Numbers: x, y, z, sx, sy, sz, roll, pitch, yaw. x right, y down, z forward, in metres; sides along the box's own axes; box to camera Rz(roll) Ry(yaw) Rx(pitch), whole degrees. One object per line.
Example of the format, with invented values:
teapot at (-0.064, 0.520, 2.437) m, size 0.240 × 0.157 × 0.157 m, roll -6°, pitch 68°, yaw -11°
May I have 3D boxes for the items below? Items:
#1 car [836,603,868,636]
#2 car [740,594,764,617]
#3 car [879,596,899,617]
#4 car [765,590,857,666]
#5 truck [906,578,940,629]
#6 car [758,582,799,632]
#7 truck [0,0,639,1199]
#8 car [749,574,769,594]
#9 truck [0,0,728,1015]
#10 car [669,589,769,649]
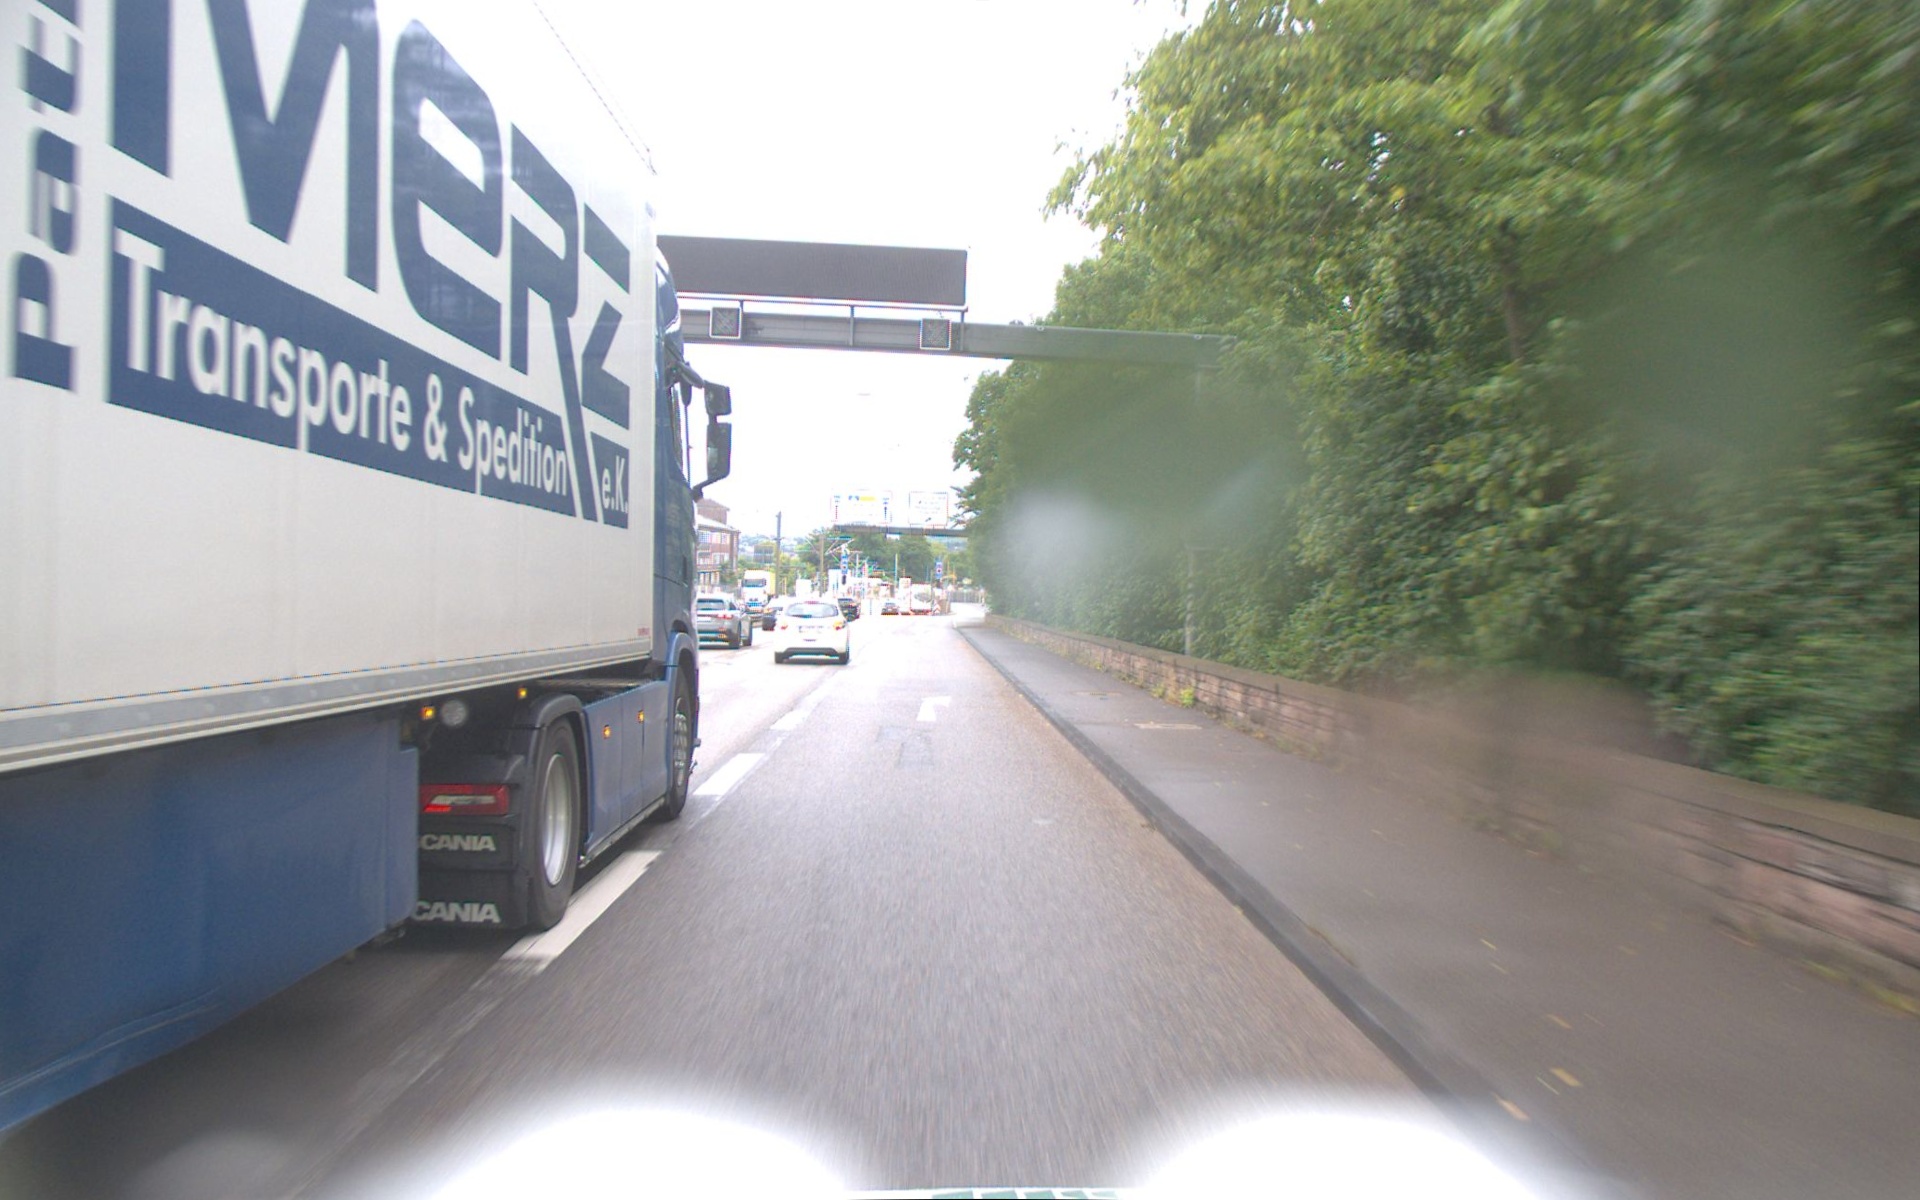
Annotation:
car at (-7.329, 1.344, 112.831) m, size 1.953 × 2.049 × 3.998 m, roll 2°, pitch -3°, yaw -1°
car at (-20.854, 0.585, 165.763) m, size 1.953 × 2.049 × 3.998 m, roll 2°, pitch -3°, yaw -1°
car at (-7.609, 0.731, 178.121) m, size 1.953 × 2.049 × 3.998 m, roll 2°, pitch -3°, yaw -1°
car at (-3.408, 0.605, 38.577) m, size 1.916 × 1.513 × 3.999 m, roll 2°, pitch 2°, yaw -3°
truck at (-4.423, 0.509, 198.984) m, size 3.393 × 5.496 × 12.050 m, roll 2°, pitch -3°, yaw 1°
car at (-7.860, 0.278, 71.733) m, size 1.688 × 1.923 × 3.533 m, roll 0°, pitch 4°, yaw -5°
truck at (-2.898, -0.766, 2.175) m, size 2.706 × 4.270 × 13.027 m, roll 0°, pitch 0°, yaw -1°
car at (-23.844, -1.922, 196.342) m, size 1.953 × 2.049 × 3.998 m, roll 2°, pitch -3°, yaw -1°
truck at (-3.063, -0.694, 9.270) m, size 2.706 × 4.270 × 6.782 m, roll 0°, pitch 0°, yaw -1°
car at (-6.783, 0.504, 47.031) m, size 1.782 × 1.593 × 4.095 m, roll -1°, pitch 0°, yaw 7°
